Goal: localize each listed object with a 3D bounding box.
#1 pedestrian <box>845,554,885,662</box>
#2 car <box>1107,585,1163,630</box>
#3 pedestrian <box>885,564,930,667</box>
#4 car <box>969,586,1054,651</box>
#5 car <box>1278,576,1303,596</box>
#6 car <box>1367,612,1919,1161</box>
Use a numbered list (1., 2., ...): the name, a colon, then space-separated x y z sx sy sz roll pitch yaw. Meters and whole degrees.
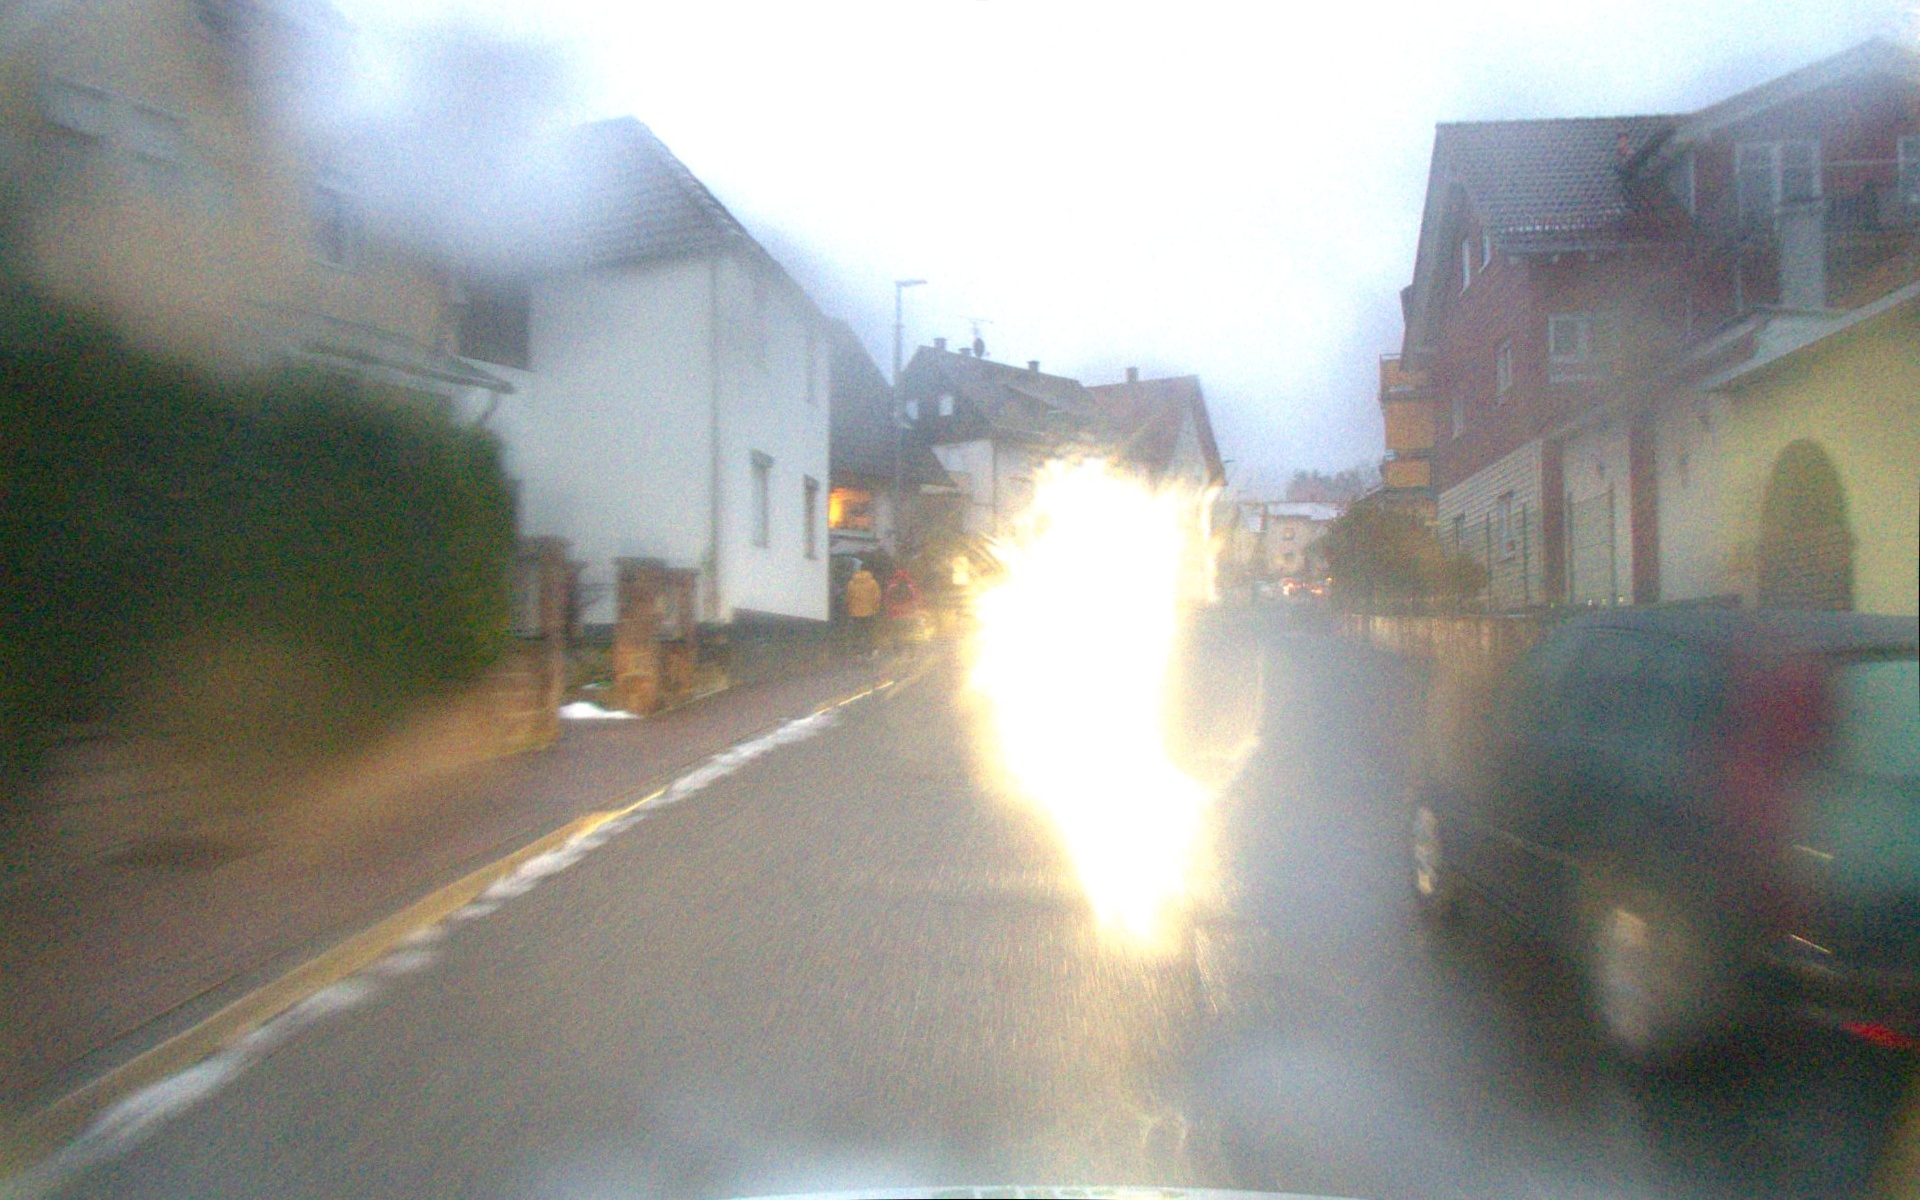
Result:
1. pedestrian: -1.696 0.139 29.655 0.585 1.902 0.812 0 -1 5
2. car: 6.522 0.291 61.456 1.720 1.608 4.003 0 0 11
3. pedestrian: -0.929 0.273 29.522 0.691 1.810 0.812 0 -1 6
4. car: 1.304 0.402 39.924 1.784 1.466 4.070 0 1 5
5. car: 28.599 -1.203 143.127 1.951 1.646 4.003 1 -1 9
6. car: 3.073 0.785 6.804 1.690 1.457 4.798 0 0 1
